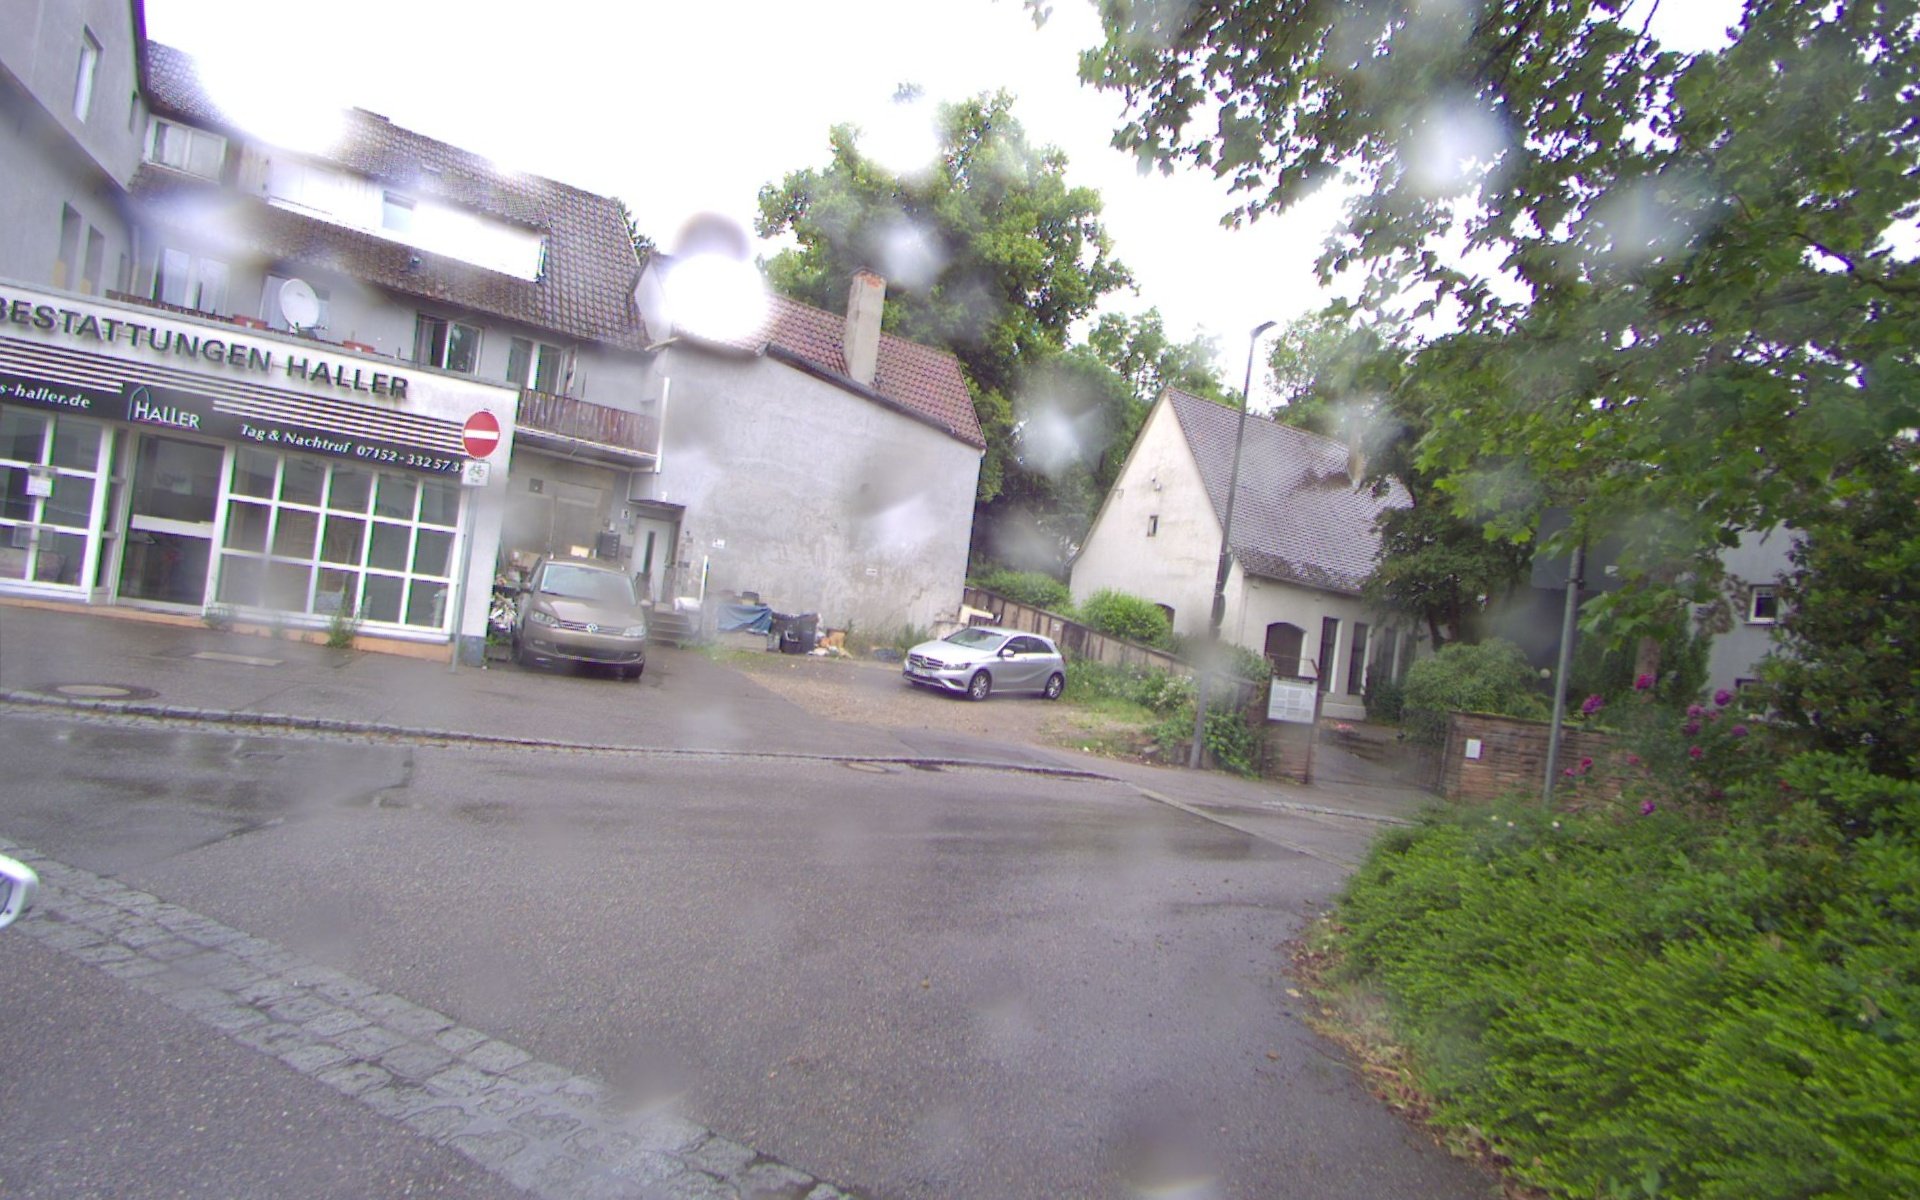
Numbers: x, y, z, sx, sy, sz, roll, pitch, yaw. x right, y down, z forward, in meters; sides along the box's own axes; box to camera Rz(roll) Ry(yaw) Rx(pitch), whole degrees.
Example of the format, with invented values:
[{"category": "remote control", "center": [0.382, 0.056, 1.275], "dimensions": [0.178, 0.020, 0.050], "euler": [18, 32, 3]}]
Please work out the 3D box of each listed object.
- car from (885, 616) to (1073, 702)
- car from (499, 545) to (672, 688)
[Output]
[{"category": "car", "center": [0.494, 1.292, 21.387], "dimensions": [1.717, 1.406, 4.022], "euler": [10, 2, 40]}, {"category": "car", "center": [-6.297, 0.164, 16.555], "dimensions": [1.908, 1.749, 4.634], "euler": [8, 0, -28]}]
